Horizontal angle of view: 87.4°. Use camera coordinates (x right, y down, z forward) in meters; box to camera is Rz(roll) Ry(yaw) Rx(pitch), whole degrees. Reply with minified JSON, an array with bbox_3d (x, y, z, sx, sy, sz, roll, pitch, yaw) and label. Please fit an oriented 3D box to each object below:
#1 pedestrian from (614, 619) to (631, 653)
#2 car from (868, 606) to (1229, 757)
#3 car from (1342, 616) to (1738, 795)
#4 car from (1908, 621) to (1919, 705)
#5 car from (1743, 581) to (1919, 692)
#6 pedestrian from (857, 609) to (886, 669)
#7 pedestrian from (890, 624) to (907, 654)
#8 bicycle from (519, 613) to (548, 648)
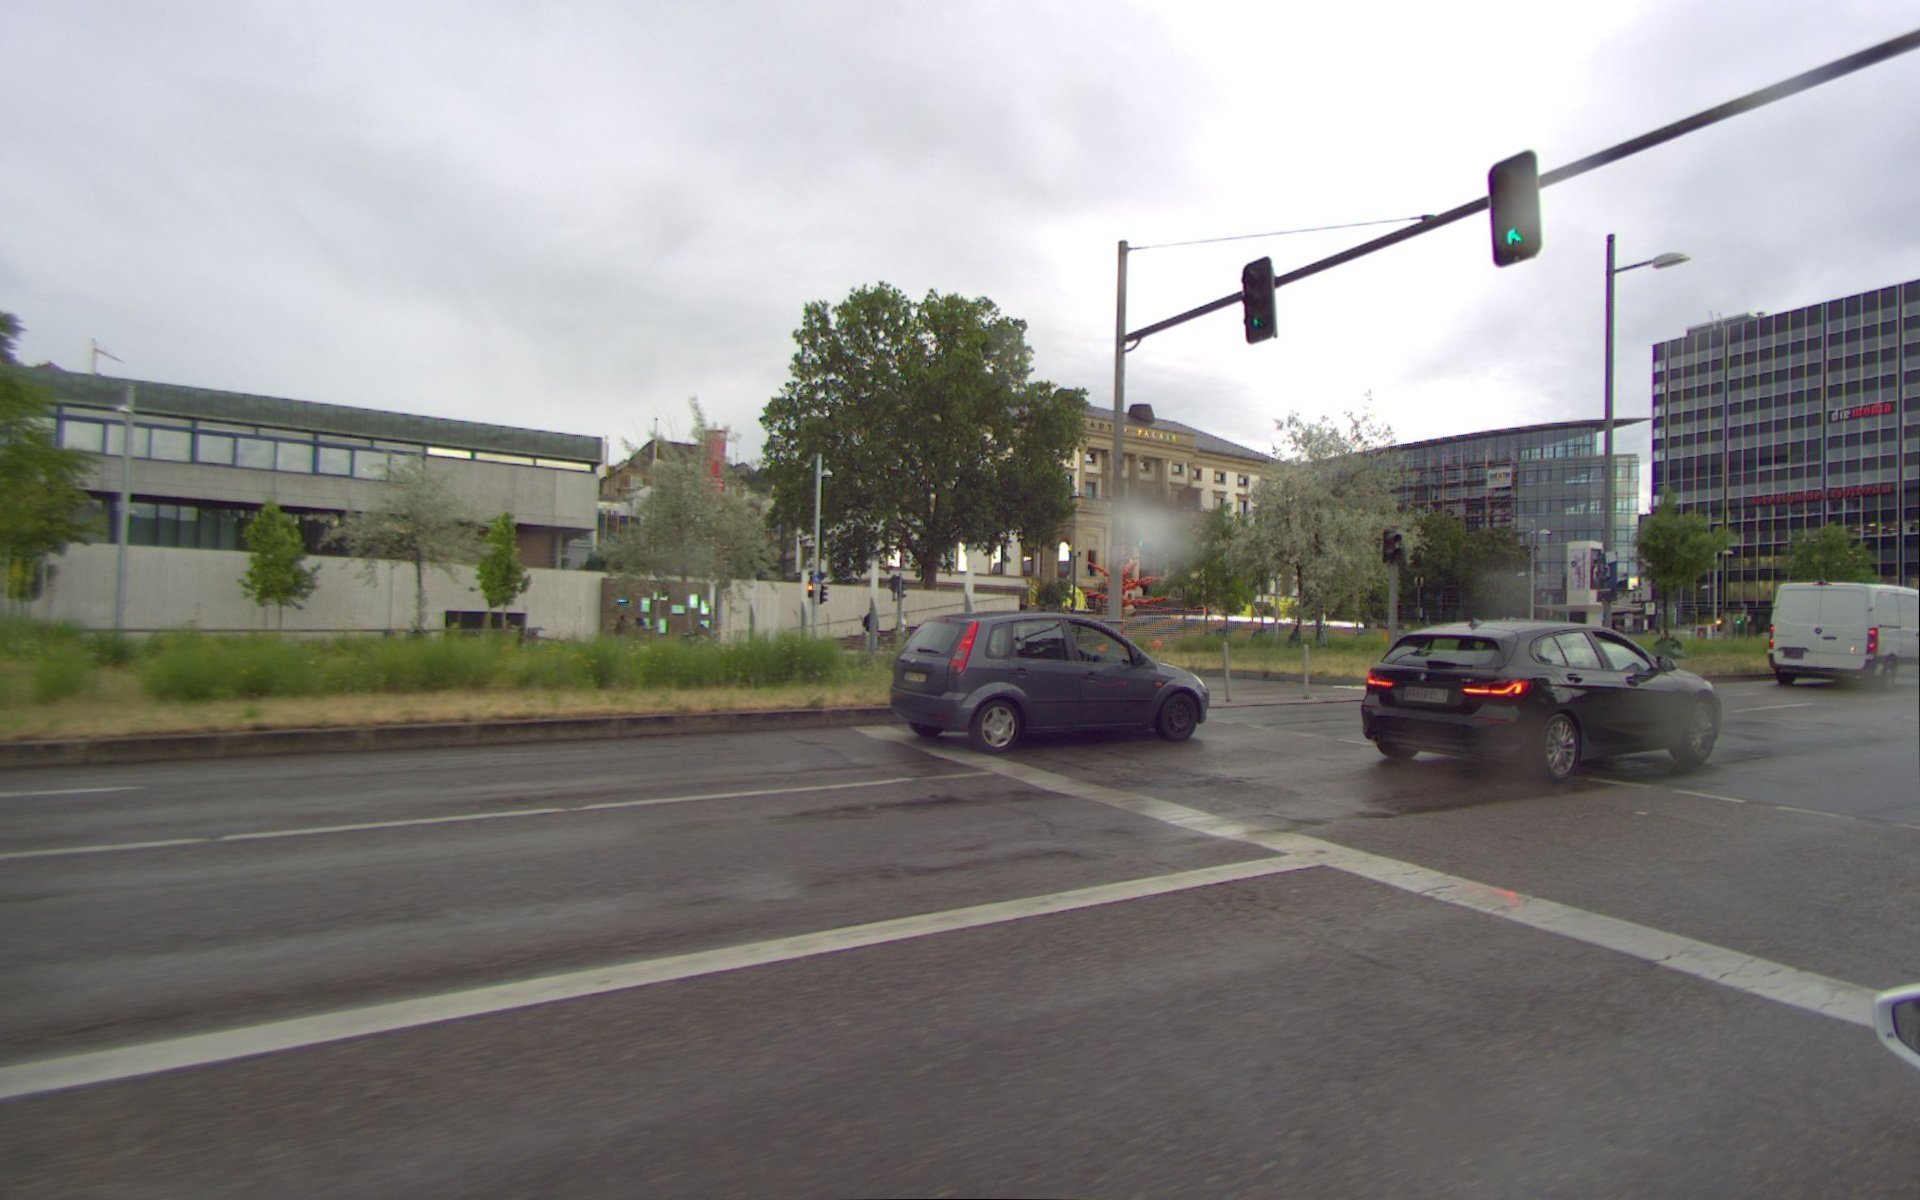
[{"bbox_3d":[-14.306,1.519,42.548,0.566,1.401,0.467,2,-1,-10],"label":"pedestrian"},{"bbox_3d":[1.056,0.873,11.314,3.857,1.434,1.535,3,-1,-31],"label":"car"},{"bbox_3d":[6.009,0.928,10.293,4.174,1.491,1.744,1,0,-31],"label":"car"},{"bbox_3d":[19.052,1.167,18.153,3.356,1.514,1.822,1,-1,-28],"label":"car"},{"bbox_3d":[20.833,0.891,23.506,4.948,2.344,2.281,3,-1,-31],"label":"car"},{"bbox_3d":[-3.269,1.405,36.893,0.717,2.120,0.764,-4,2,-28],"label":"pedestrian"},{"bbox_3d":[-3.070,1.947,50.308,0.626,1.441,0.489,3,-1,-33],"label":"pedestrian"},{"bbox_3d":[-17.113,1.212,40.268,0.554,1.325,1.462,3,-1,-43],"label":"bicycle"}]
